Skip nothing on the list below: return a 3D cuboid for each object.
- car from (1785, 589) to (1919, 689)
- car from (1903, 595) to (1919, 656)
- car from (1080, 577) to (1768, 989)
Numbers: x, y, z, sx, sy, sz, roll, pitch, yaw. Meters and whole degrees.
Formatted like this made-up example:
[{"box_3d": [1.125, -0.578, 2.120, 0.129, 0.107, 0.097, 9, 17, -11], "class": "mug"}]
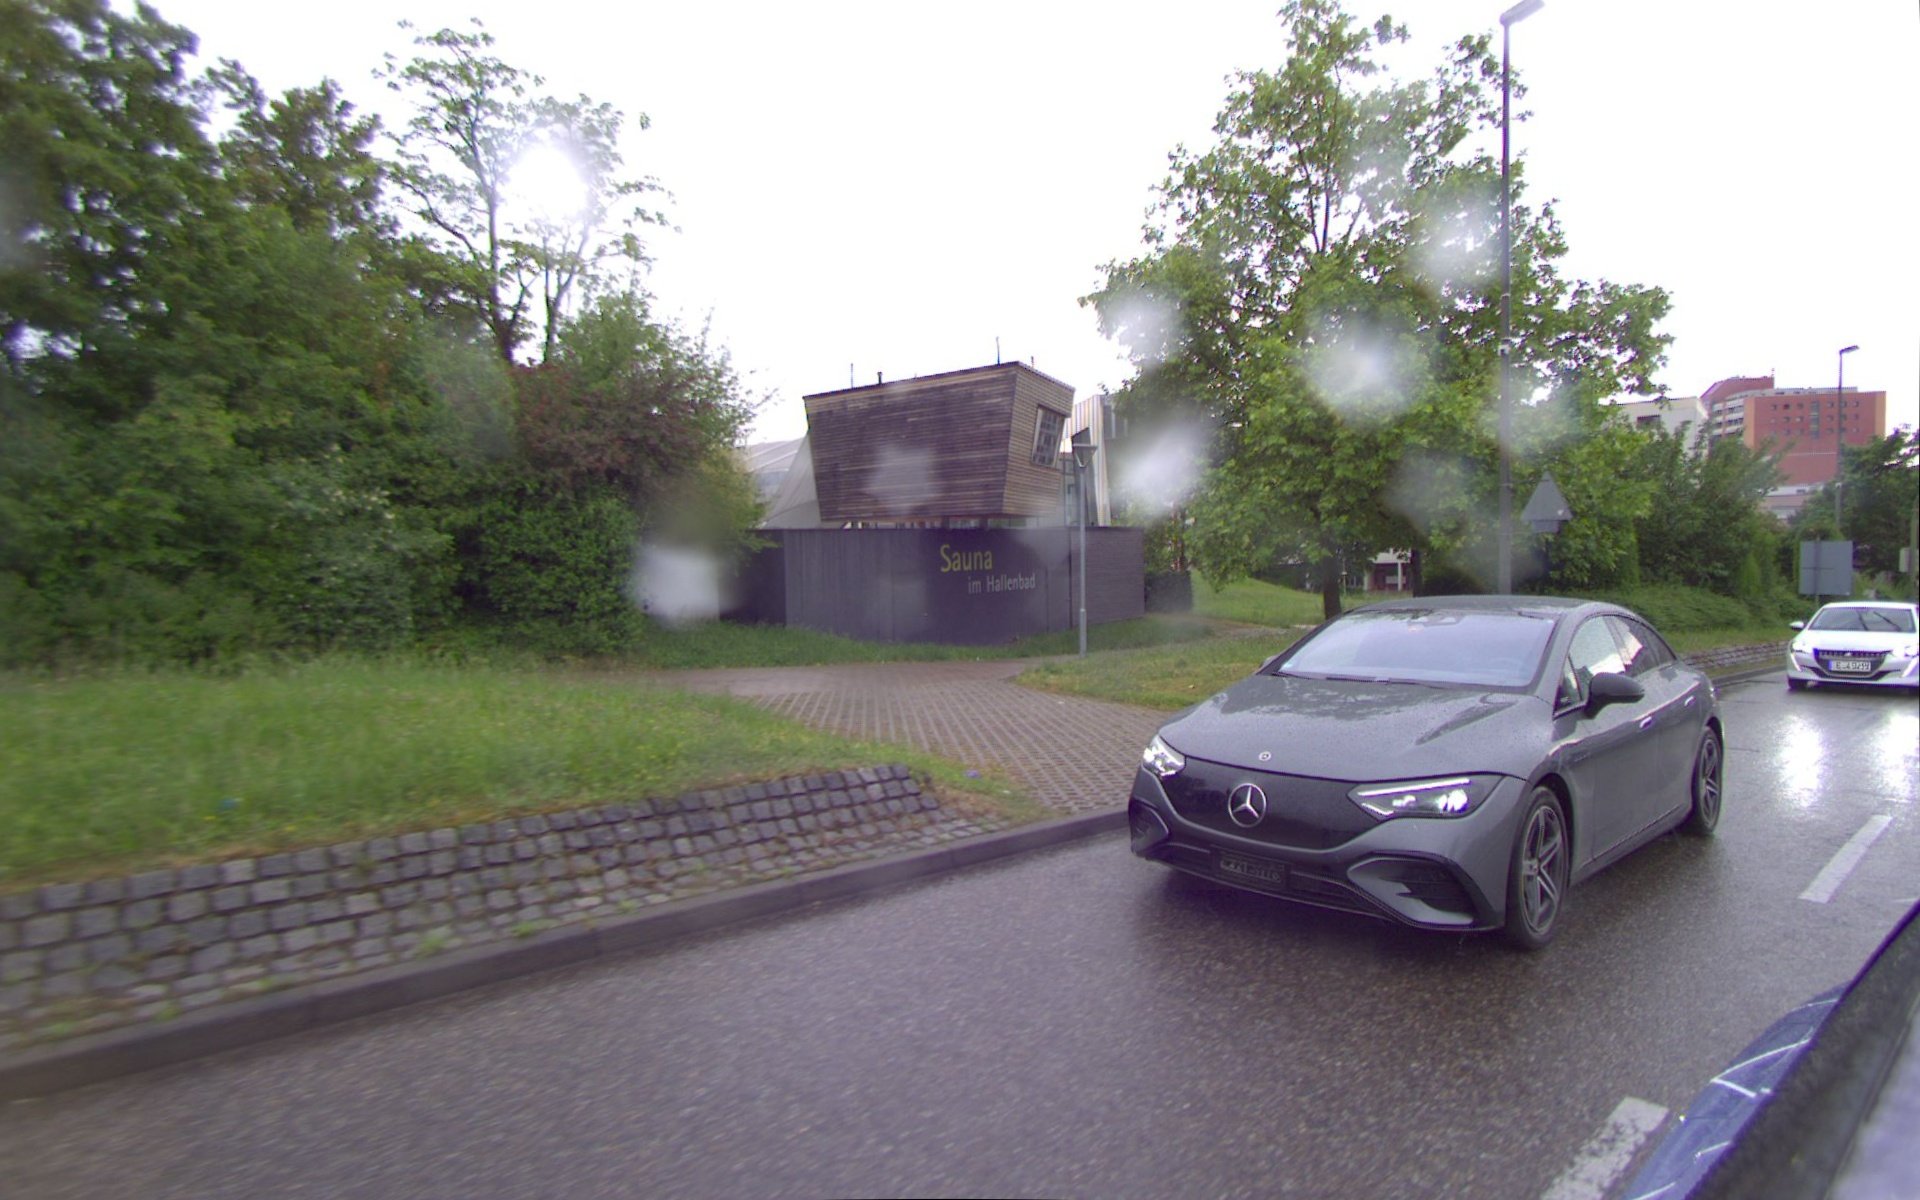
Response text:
[{"box_3d": [15.382, 0.569, 16.853, 3.963, 1.415, 1.718, -2, 0, -38], "class": "car"}, {"box_3d": [24.412, 0.577, 24.540, 3.667, 1.394, 1.718, -2, 0, -38], "class": "car"}, {"box_3d": [2.907, 0.635, 5.813, 4.470, 1.462, 1.835, -2, 0, -40], "class": "car"}]
